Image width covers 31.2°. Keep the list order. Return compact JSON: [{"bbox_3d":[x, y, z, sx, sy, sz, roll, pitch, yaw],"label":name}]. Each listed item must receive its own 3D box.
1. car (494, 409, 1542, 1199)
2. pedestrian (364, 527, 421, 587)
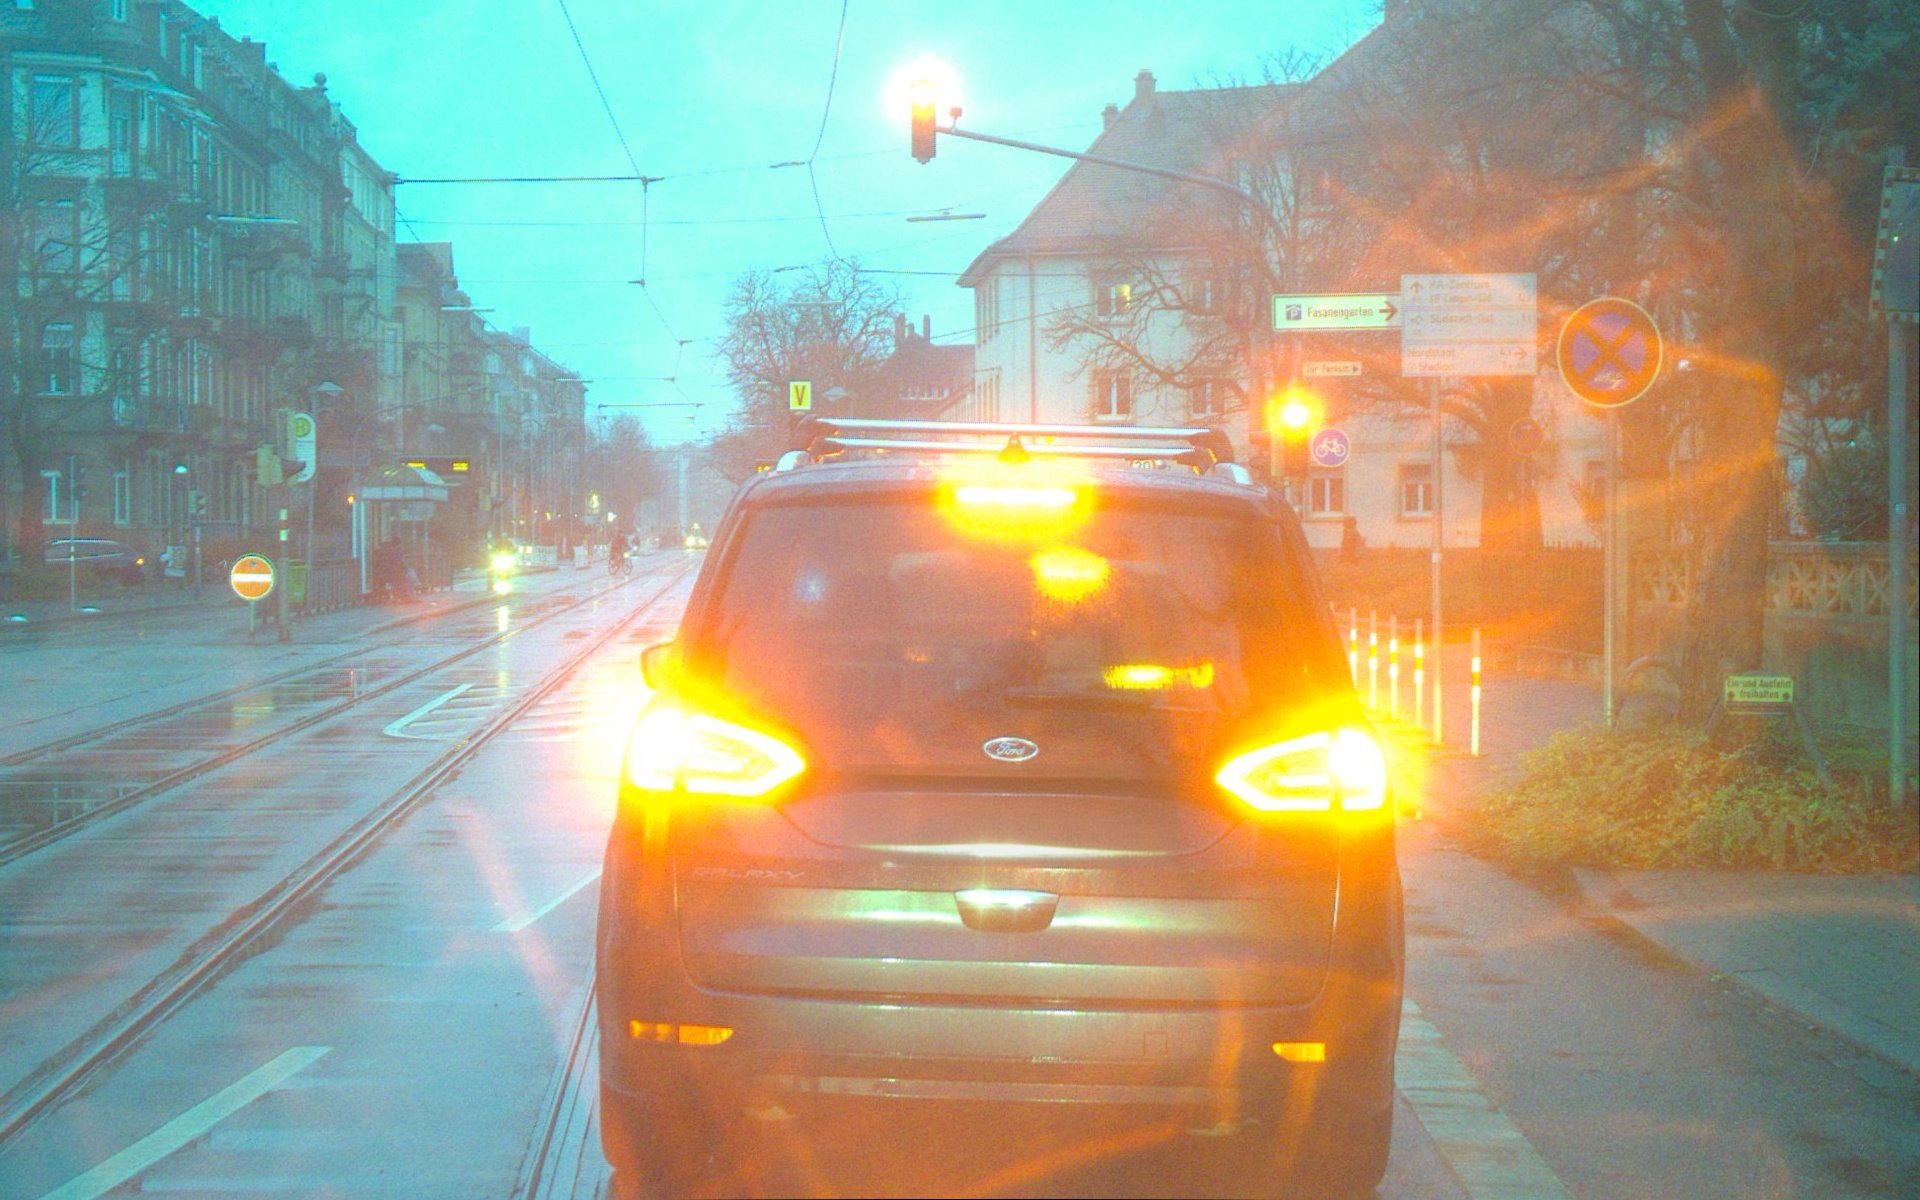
[{"bbox_3d":[0.065,0.495,9.382,2.103,1.810,4.661,2,1,-1],"label":"car"},{"bbox_3d":[-11.602,-0.881,70.313,1.047,1.196,0.885,1,0,-2],"label":"pedestrian"}]
